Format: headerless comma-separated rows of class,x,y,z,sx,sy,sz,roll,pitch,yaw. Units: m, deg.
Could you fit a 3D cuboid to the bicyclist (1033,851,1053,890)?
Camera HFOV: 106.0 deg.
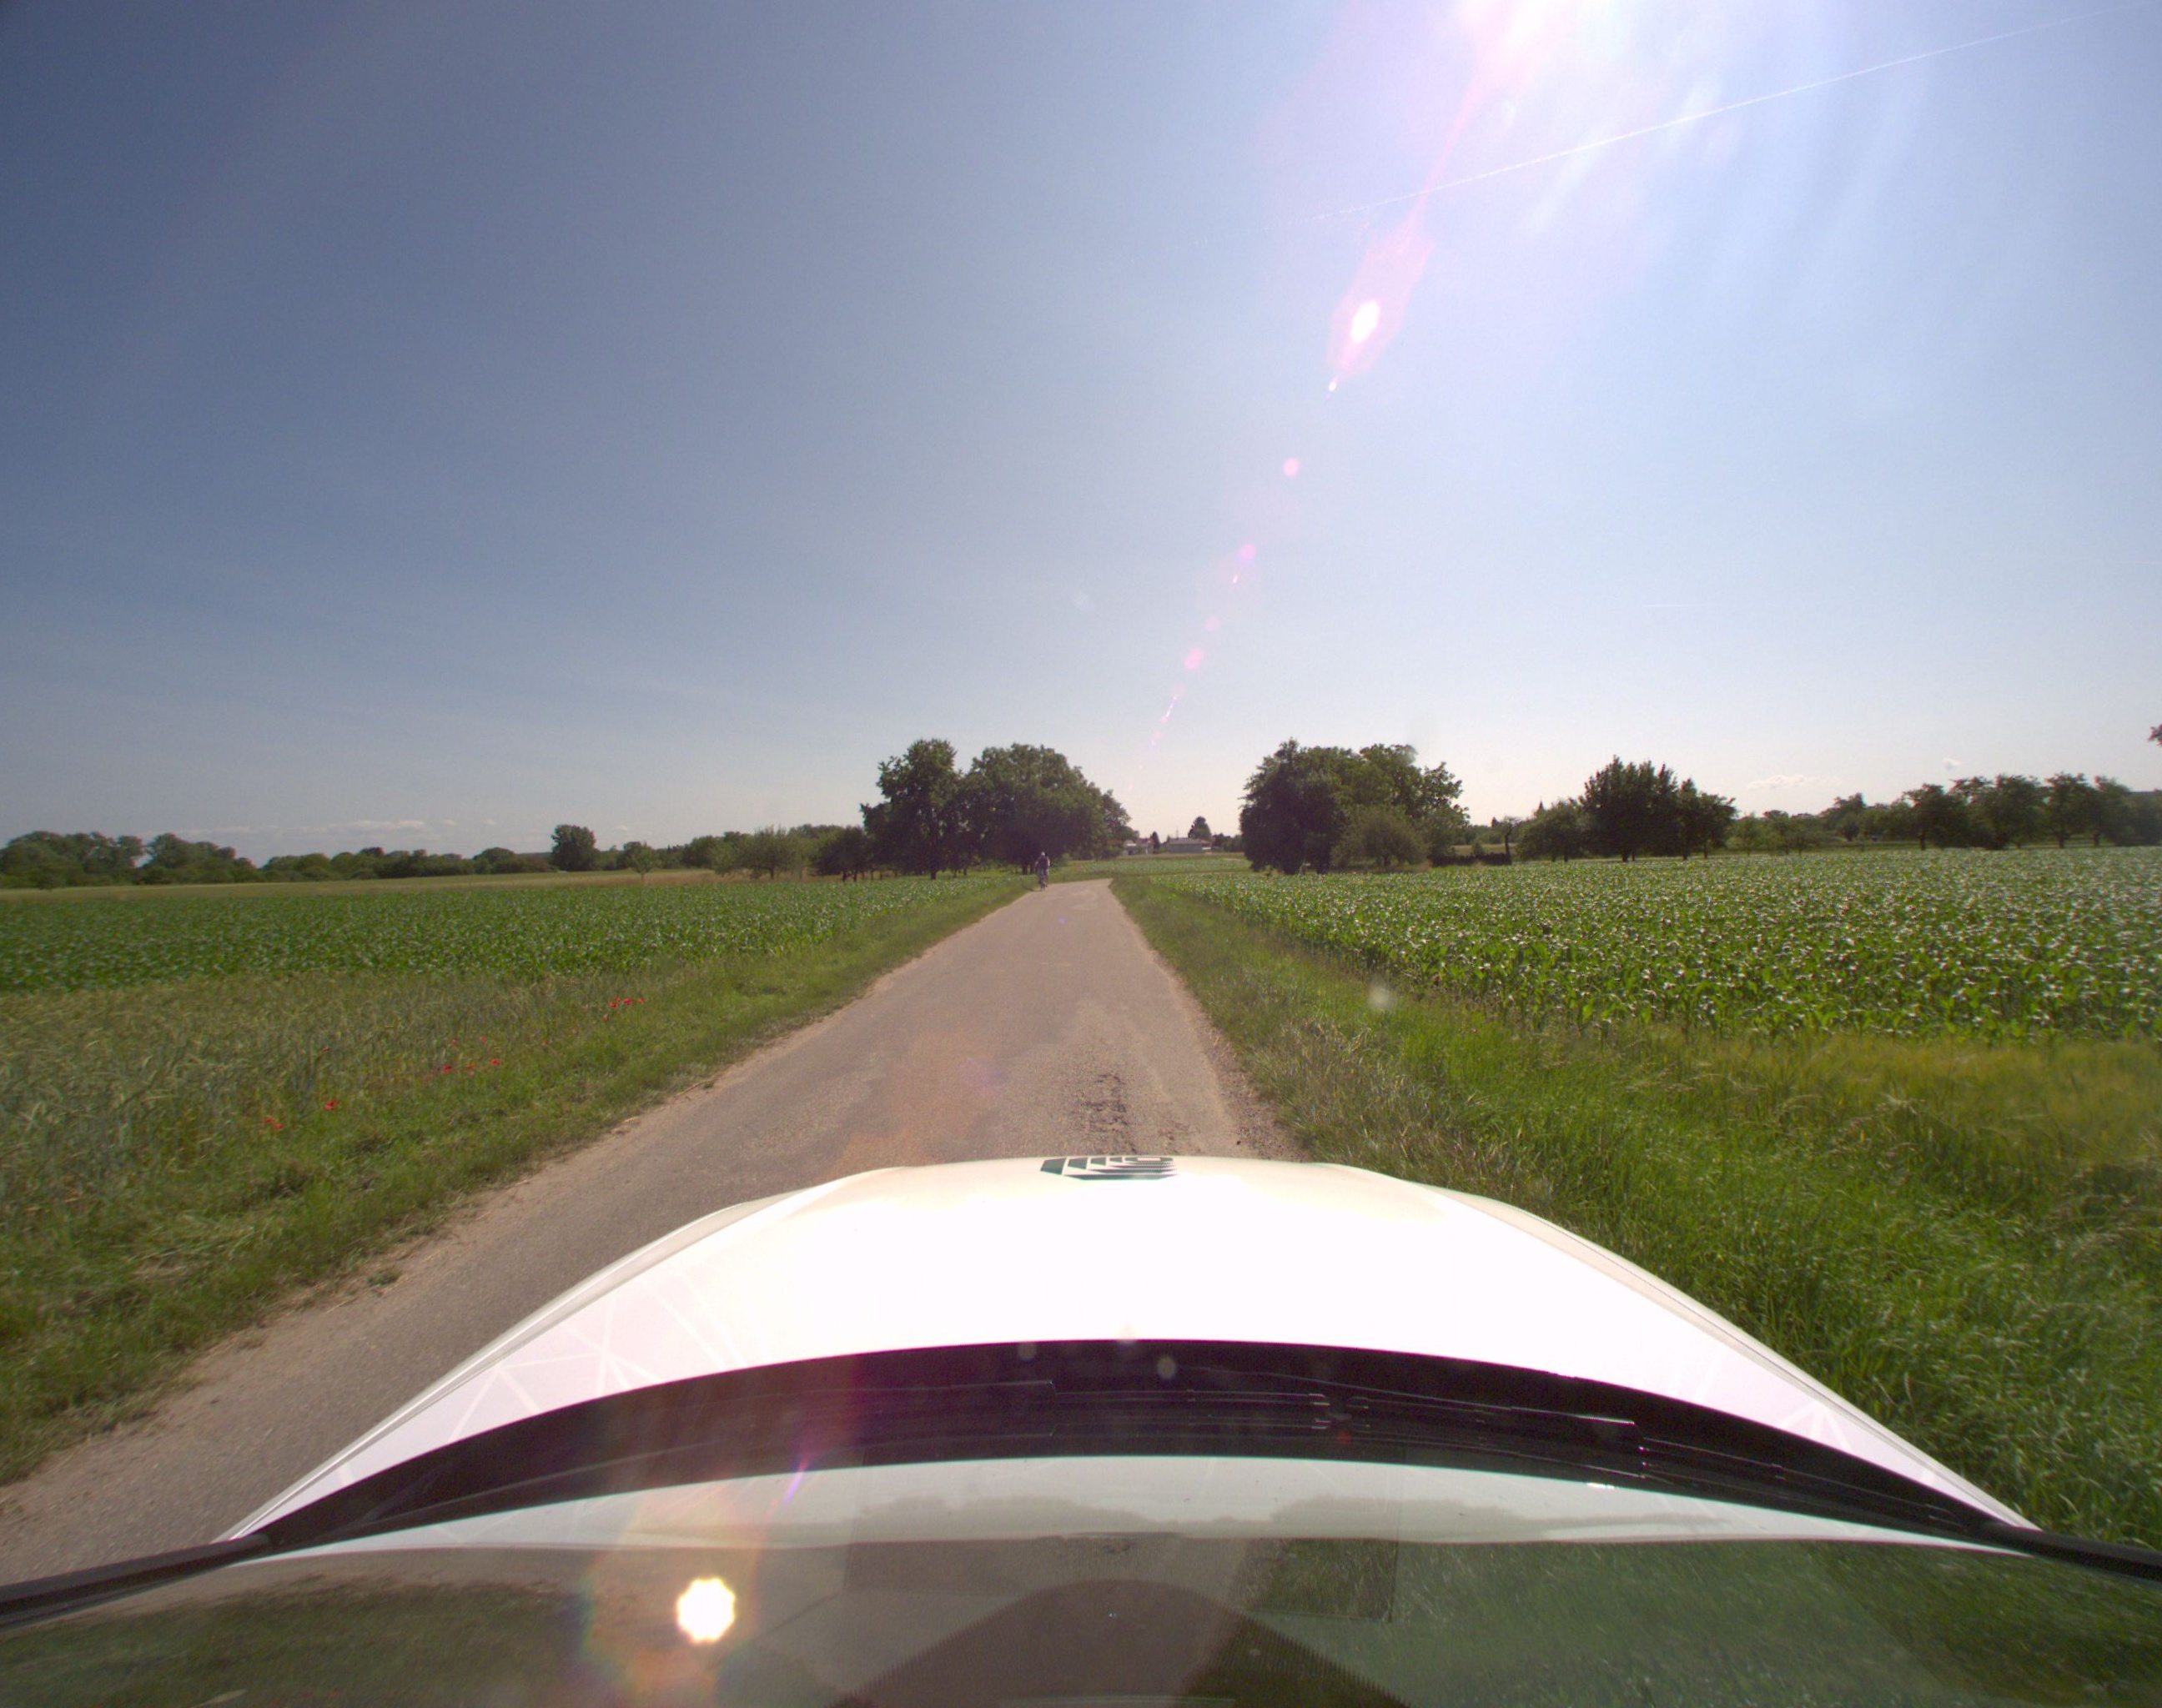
bicyclist,-1.787,0.771,38.576,0.747,1.791,0.717,-3,-1,4

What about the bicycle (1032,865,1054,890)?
bicycle,-1.774,1.093,38.568,0.747,1.127,1.910,-3,0,4
